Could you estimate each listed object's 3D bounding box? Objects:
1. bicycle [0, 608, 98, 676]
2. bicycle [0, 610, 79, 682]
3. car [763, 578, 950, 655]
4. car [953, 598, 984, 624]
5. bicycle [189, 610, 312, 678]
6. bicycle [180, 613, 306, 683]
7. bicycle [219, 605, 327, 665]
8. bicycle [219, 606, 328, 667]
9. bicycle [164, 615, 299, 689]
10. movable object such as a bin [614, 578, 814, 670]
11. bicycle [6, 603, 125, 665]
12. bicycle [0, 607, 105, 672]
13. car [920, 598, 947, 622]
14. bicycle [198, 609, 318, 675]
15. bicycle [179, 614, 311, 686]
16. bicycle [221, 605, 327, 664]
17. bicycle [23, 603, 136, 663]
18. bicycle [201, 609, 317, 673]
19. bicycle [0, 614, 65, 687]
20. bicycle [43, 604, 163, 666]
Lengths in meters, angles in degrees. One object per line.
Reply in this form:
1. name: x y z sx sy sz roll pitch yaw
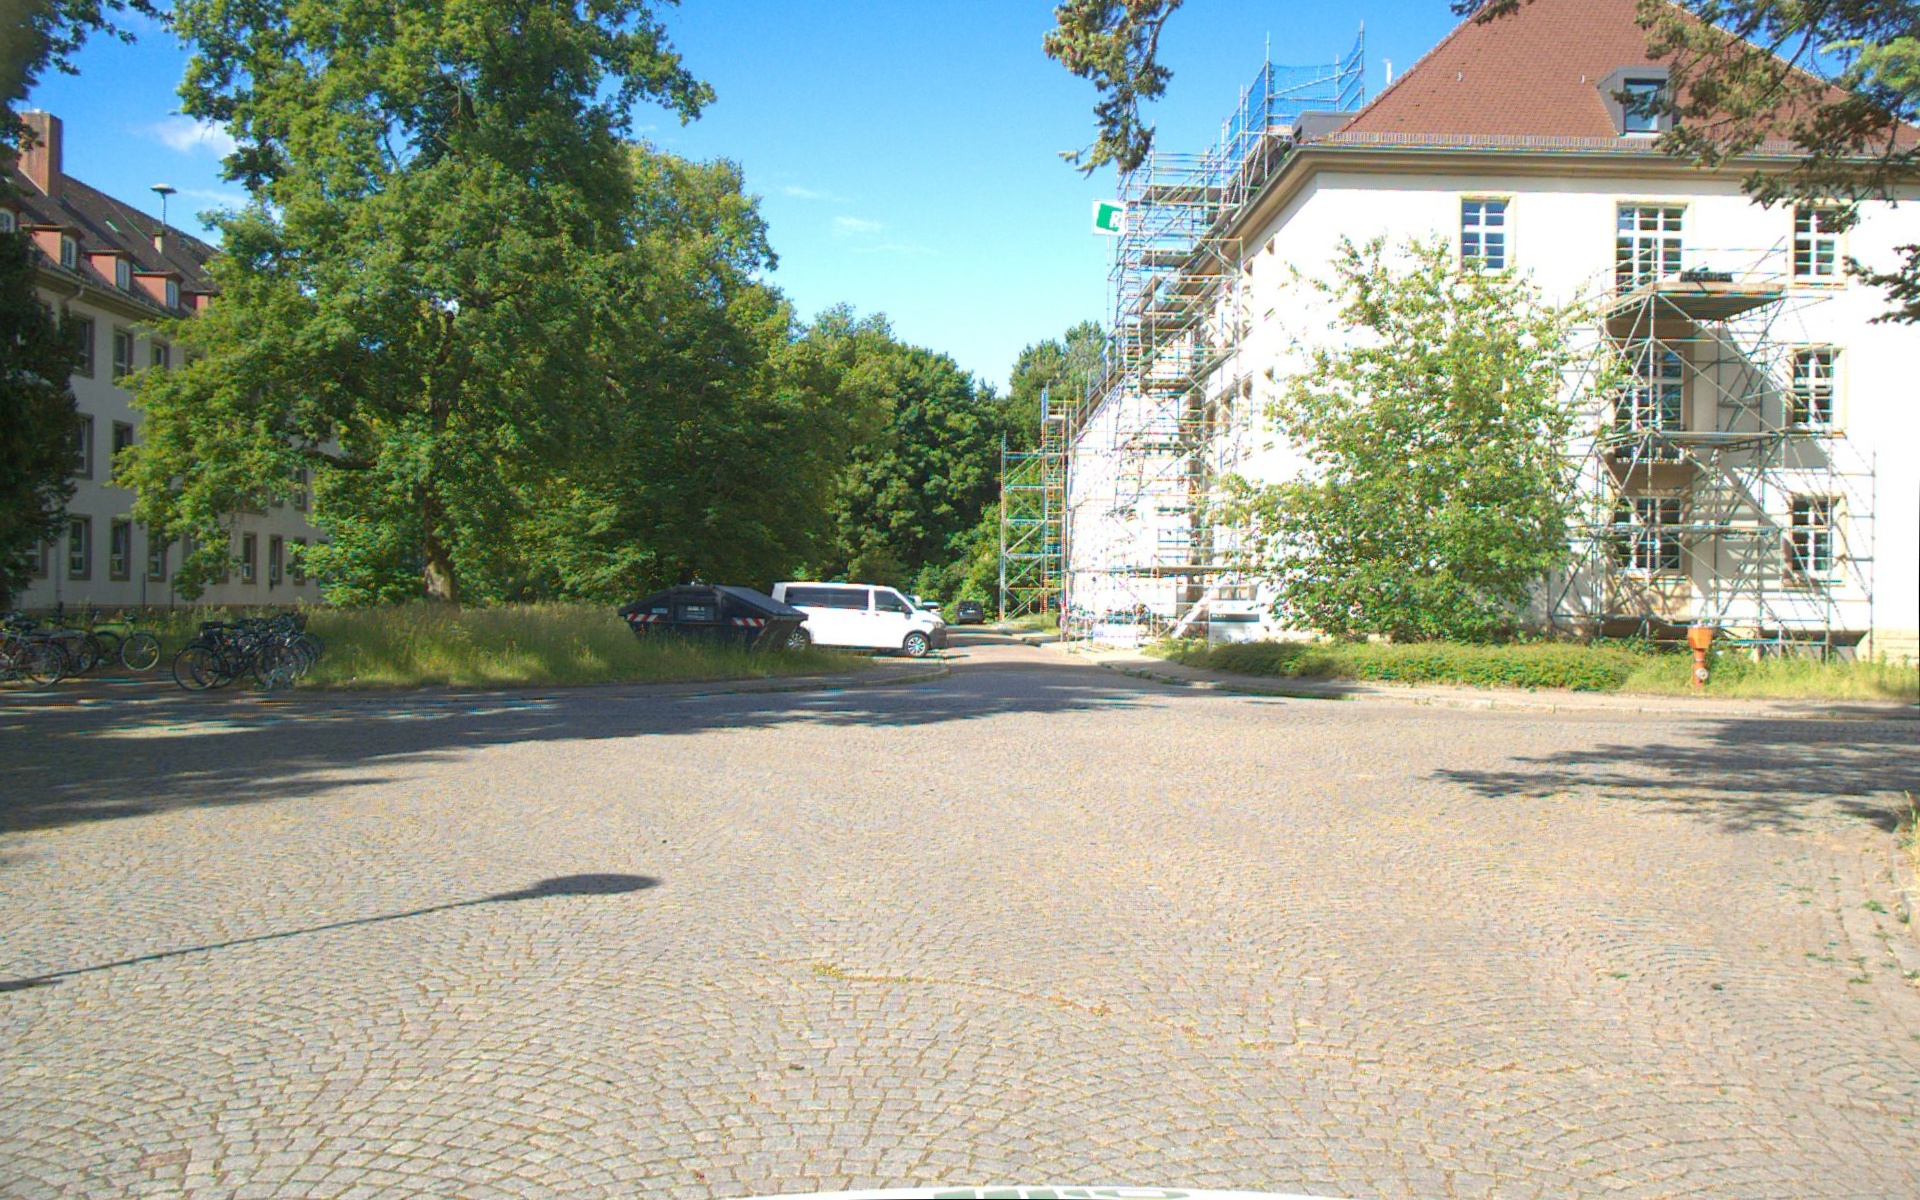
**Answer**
1. bicycle: -15.799 0.716 28.250 1.892 1.122 0.565 1 1 -30
2. bicycle: -15.296 0.743 26.673 1.889 1.122 0.566 0 1 -26
3. car: -2.891 0.470 46.711 5.129 2.051 1.949 1 0 -2
4. car: 0.550 0.748 113.137 1.931 1.697 4.084 0 0 -2
5. bicycle: -12.045 0.737 28.103 1.888 1.076 0.472 -1 0 -25
6. bicycle: -11.923 0.789 27.543 1.888 1.076 0.472 -1 0 -25
7. bicycle: -13.230 0.661 31.901 1.887 1.076 0.473 -1 0 -23
8. bicycle: -13.038 0.683 31.440 1.887 1.076 0.473 -1 0 -23
9. bicycle: -11.440 0.798 26.011 1.894 1.076 0.471 -2 1 -31
10. movable object such as a bin: -4.962 0.461 33.549 3.490 1.775 2.026 0 0 17
11. bicycle: -16.814 0.647 31.120 1.885 1.122 0.567 1 1 -21
12. bicycle: -16.352 0.704 29.533 1.892 1.122 0.565 1 1 -30
13. car: -1.798 0.680 112.765 1.775 1.607 4.133 0 0 -2
14. bicycle: -12.245 0.726 28.886 1.888 1.076 0.472 -1 0 -25
15. bicycle: -11.468 0.791 26.565 1.894 1.076 0.471 -2 1 -31
16. bicycle: -13.400 0.660 32.334 1.887 1.076 0.473 -1 0 -23
17. bicycle: -17.043 0.648 32.057 1.889 1.122 0.566 1 1 -26
18. bicycle: -12.572 0.730 29.699 1.887 1.076 0.473 -1 0 -23
19. bicycle: -15.220 0.798 26.113 1.889 1.122 0.566 0 1 -26
20. bicycle: -15.850 0.648 30.633 1.885 1.122 0.567 1 1 -21
